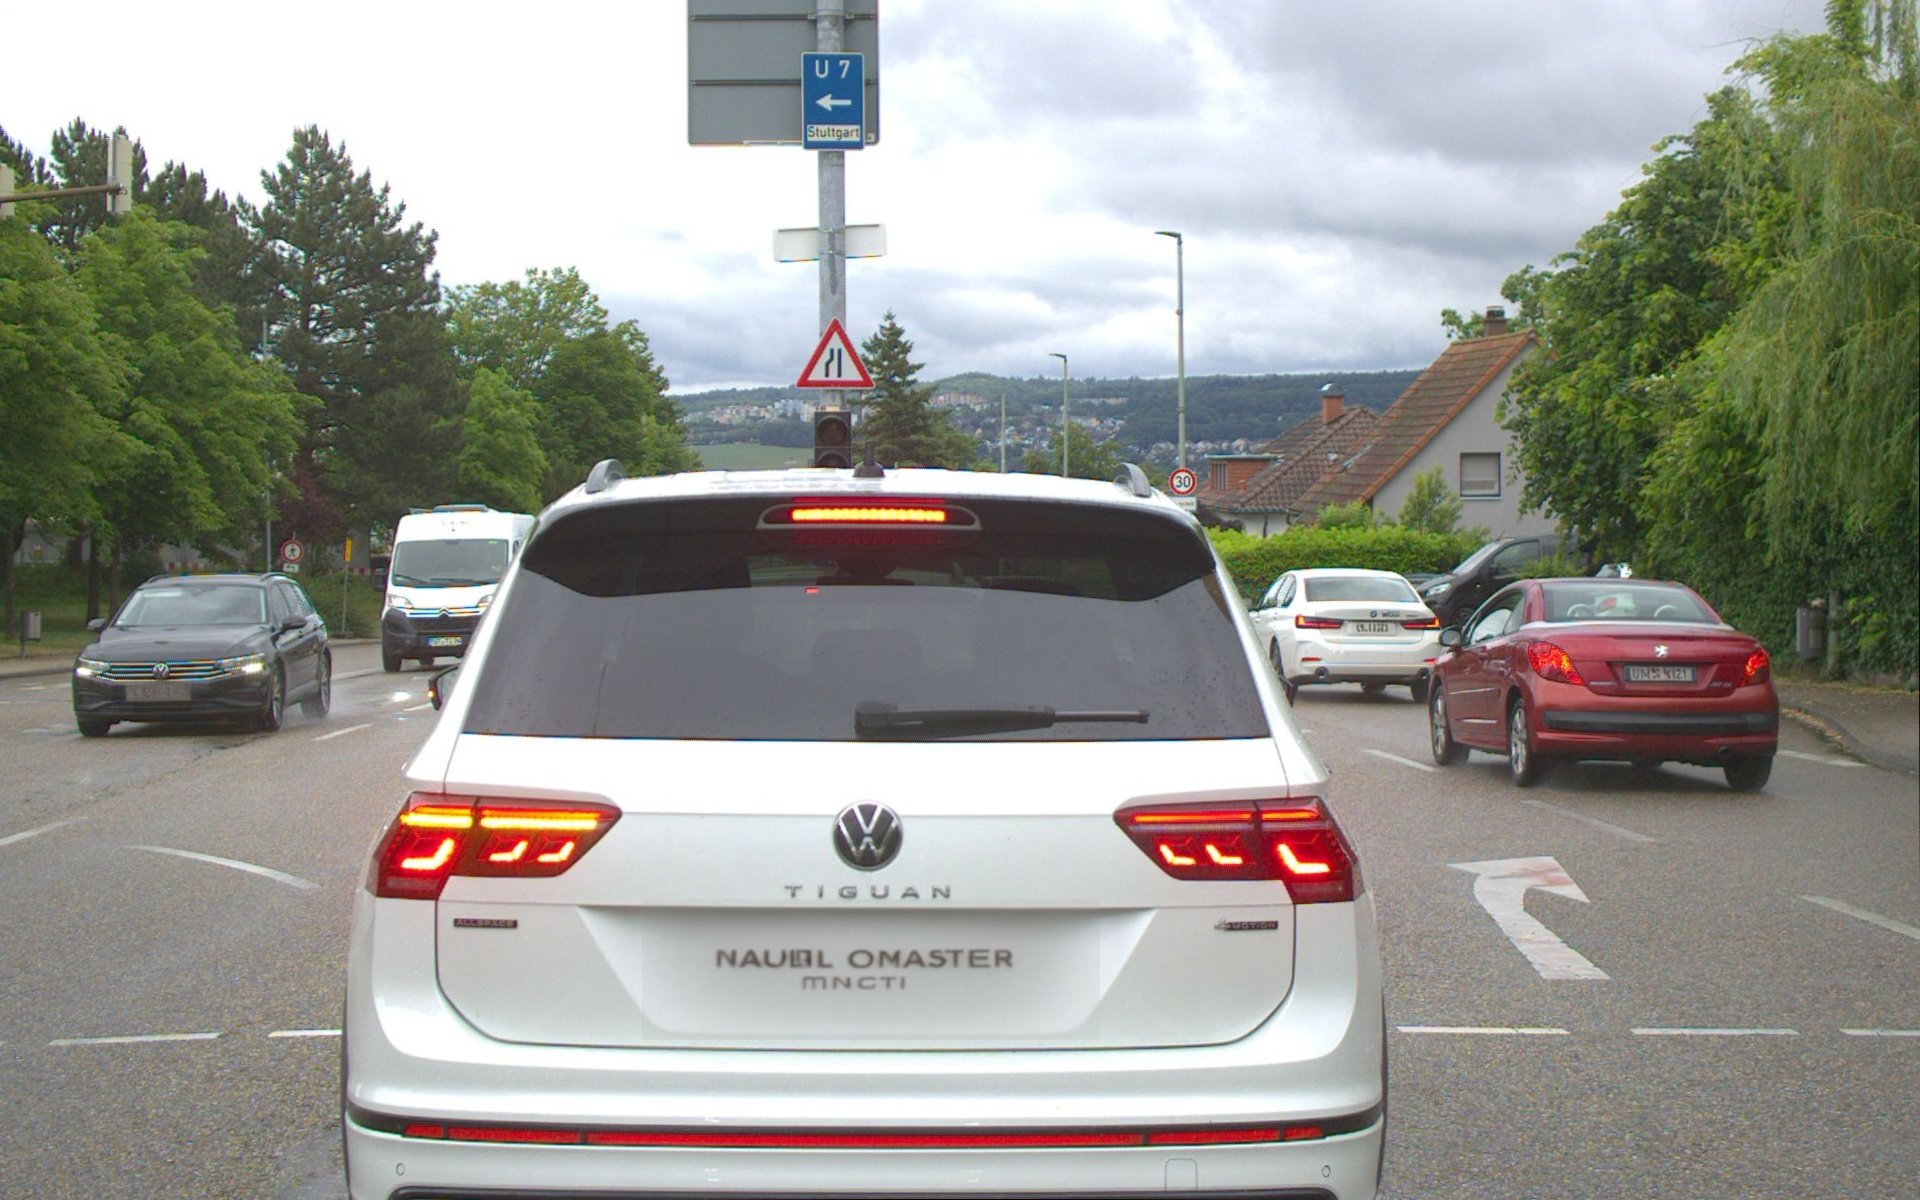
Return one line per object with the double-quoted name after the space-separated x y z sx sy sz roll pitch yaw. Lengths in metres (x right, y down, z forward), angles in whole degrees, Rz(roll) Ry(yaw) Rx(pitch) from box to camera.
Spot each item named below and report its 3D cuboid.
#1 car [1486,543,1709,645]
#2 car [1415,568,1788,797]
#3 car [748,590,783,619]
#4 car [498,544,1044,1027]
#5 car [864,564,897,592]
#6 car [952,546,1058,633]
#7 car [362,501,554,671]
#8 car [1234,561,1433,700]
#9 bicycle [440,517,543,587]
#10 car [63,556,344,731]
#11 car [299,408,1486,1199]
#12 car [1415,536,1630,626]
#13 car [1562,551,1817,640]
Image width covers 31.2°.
11.465 -0.122 61.942 3.627 1.740 1.708 0 3 -4 "car"
4.346 0.511 23.809 1.625 1.398 3.690 1 1 -4 "car"
-12.226 0.252 216.503 1.993 1.722 4.000 2 0 -1 "car"
-0.635 0.586 13.371 1.798 1.584 3.926 1 1 0 "car"
-4.620 -1.271 200.616 1.850 1.569 4.000 -1 1 0 "car"
0.829 -0.225 65.767 1.735 1.569 4.069 1 1 -3 "car"
-7.881 -0.277 54.538 2.297 2.519 5.774 -1 1 -2 "car"
4.166 0.302 38.906 1.664 1.422 4.305 1 1 -1 "car"
-7.852 -0.807 57.669 1.636 1.122 0.468 -2 2 -2 "bicycle"
-7.128 0.359 32.829 1.775 1.497 4.472 -2 1 -2 "car"
-0.162 0.547 7.354 1.763 1.690 4.273 2 1 -1 "car"
10.481 -0.366 64.170 3.627 1.620 1.792 0 2 -4 "car"
11.966 -0.065 56.504 3.713 1.390 1.729 -1 0 -7 "car"
